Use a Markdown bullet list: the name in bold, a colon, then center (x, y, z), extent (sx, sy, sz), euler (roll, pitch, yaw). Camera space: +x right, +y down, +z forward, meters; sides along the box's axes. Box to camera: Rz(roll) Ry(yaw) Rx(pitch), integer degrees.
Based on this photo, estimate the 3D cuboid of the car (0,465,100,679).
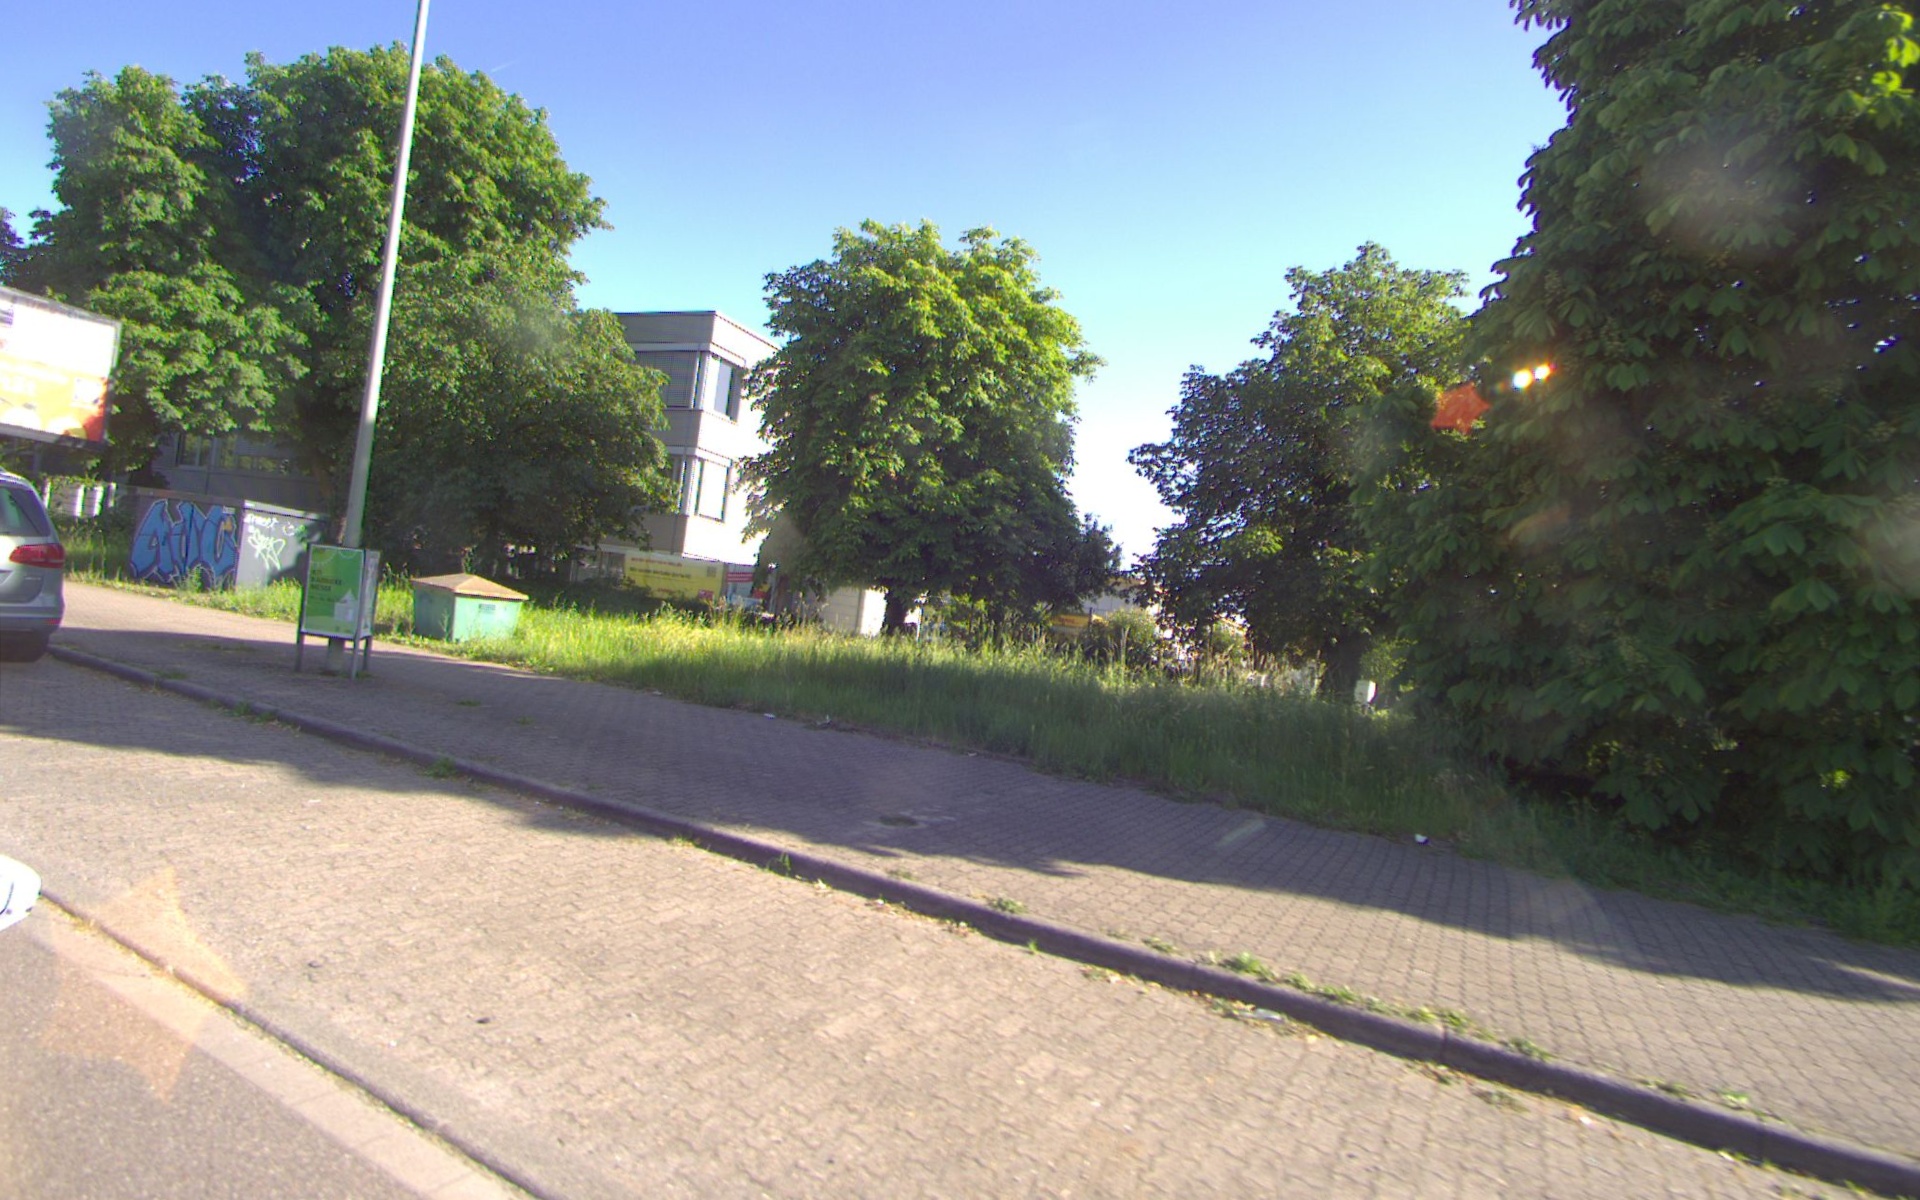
- **car**: center (-9.936, -0.466, 8.963), extent (4.533, 1.744, 1.876), euler (7, 0, 29)
